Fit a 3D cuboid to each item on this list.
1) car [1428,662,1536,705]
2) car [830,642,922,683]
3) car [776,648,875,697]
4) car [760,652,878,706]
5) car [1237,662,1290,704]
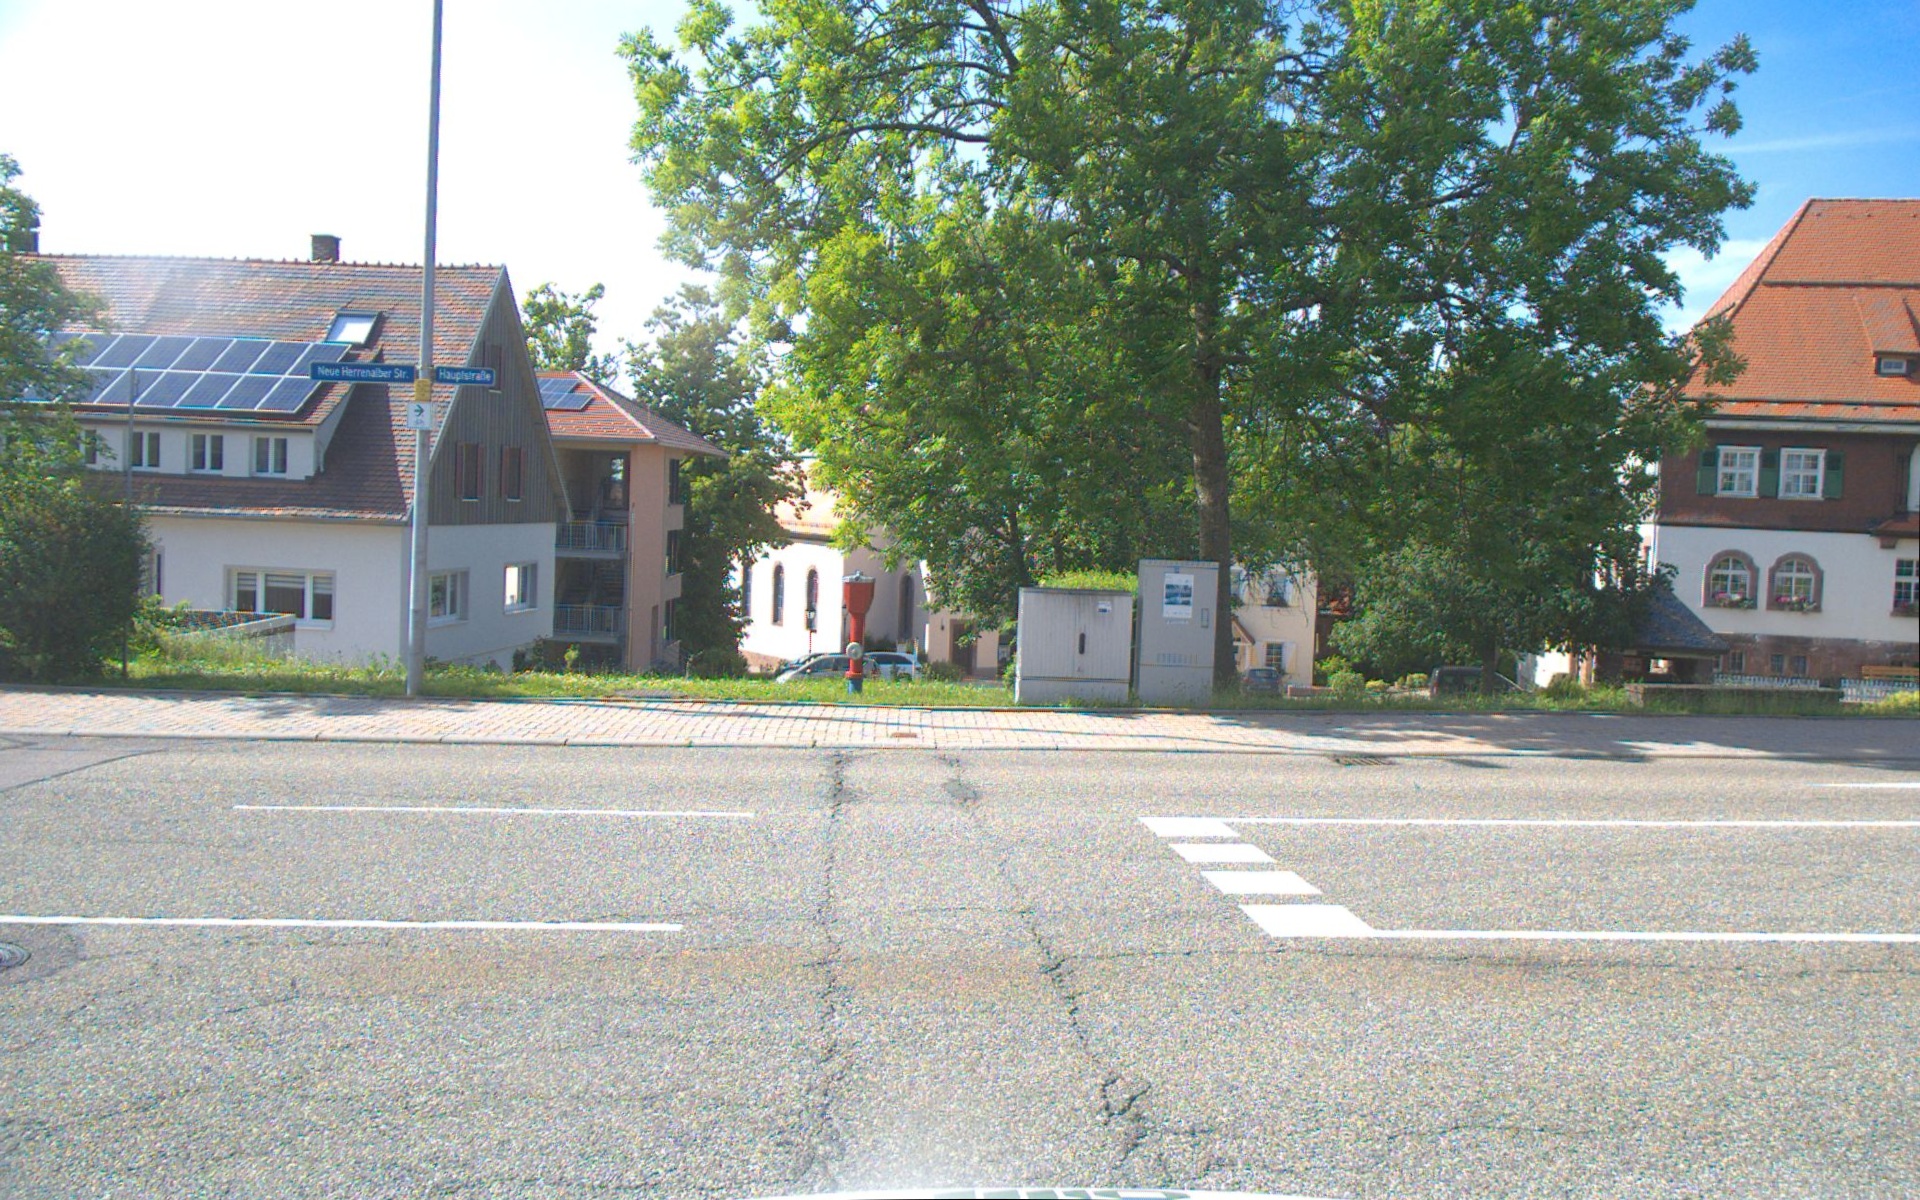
[{"bbox_3d":[19.438,3.104,61.711,3.692,1.470,1.715,1,-1,11],"label":"car"},{"bbox_3d":[-3.487,2.577,68.395,3.700,1.621,1.711,1,-1,-7],"label":"car"},{"bbox_3d":[-5.170,2.779,63.345,3.700,1.789,1.711,1,-1,-7],"label":"car"},{"bbox_3d":[-4.900,2.735,57.525,4.011,1.789,1.711,1,-1,-6],"label":"car"},{"bbox_3d":[12.443,3.388,68.053,1.672,1.569,3.787,1,0,3],"label":"car"}]
